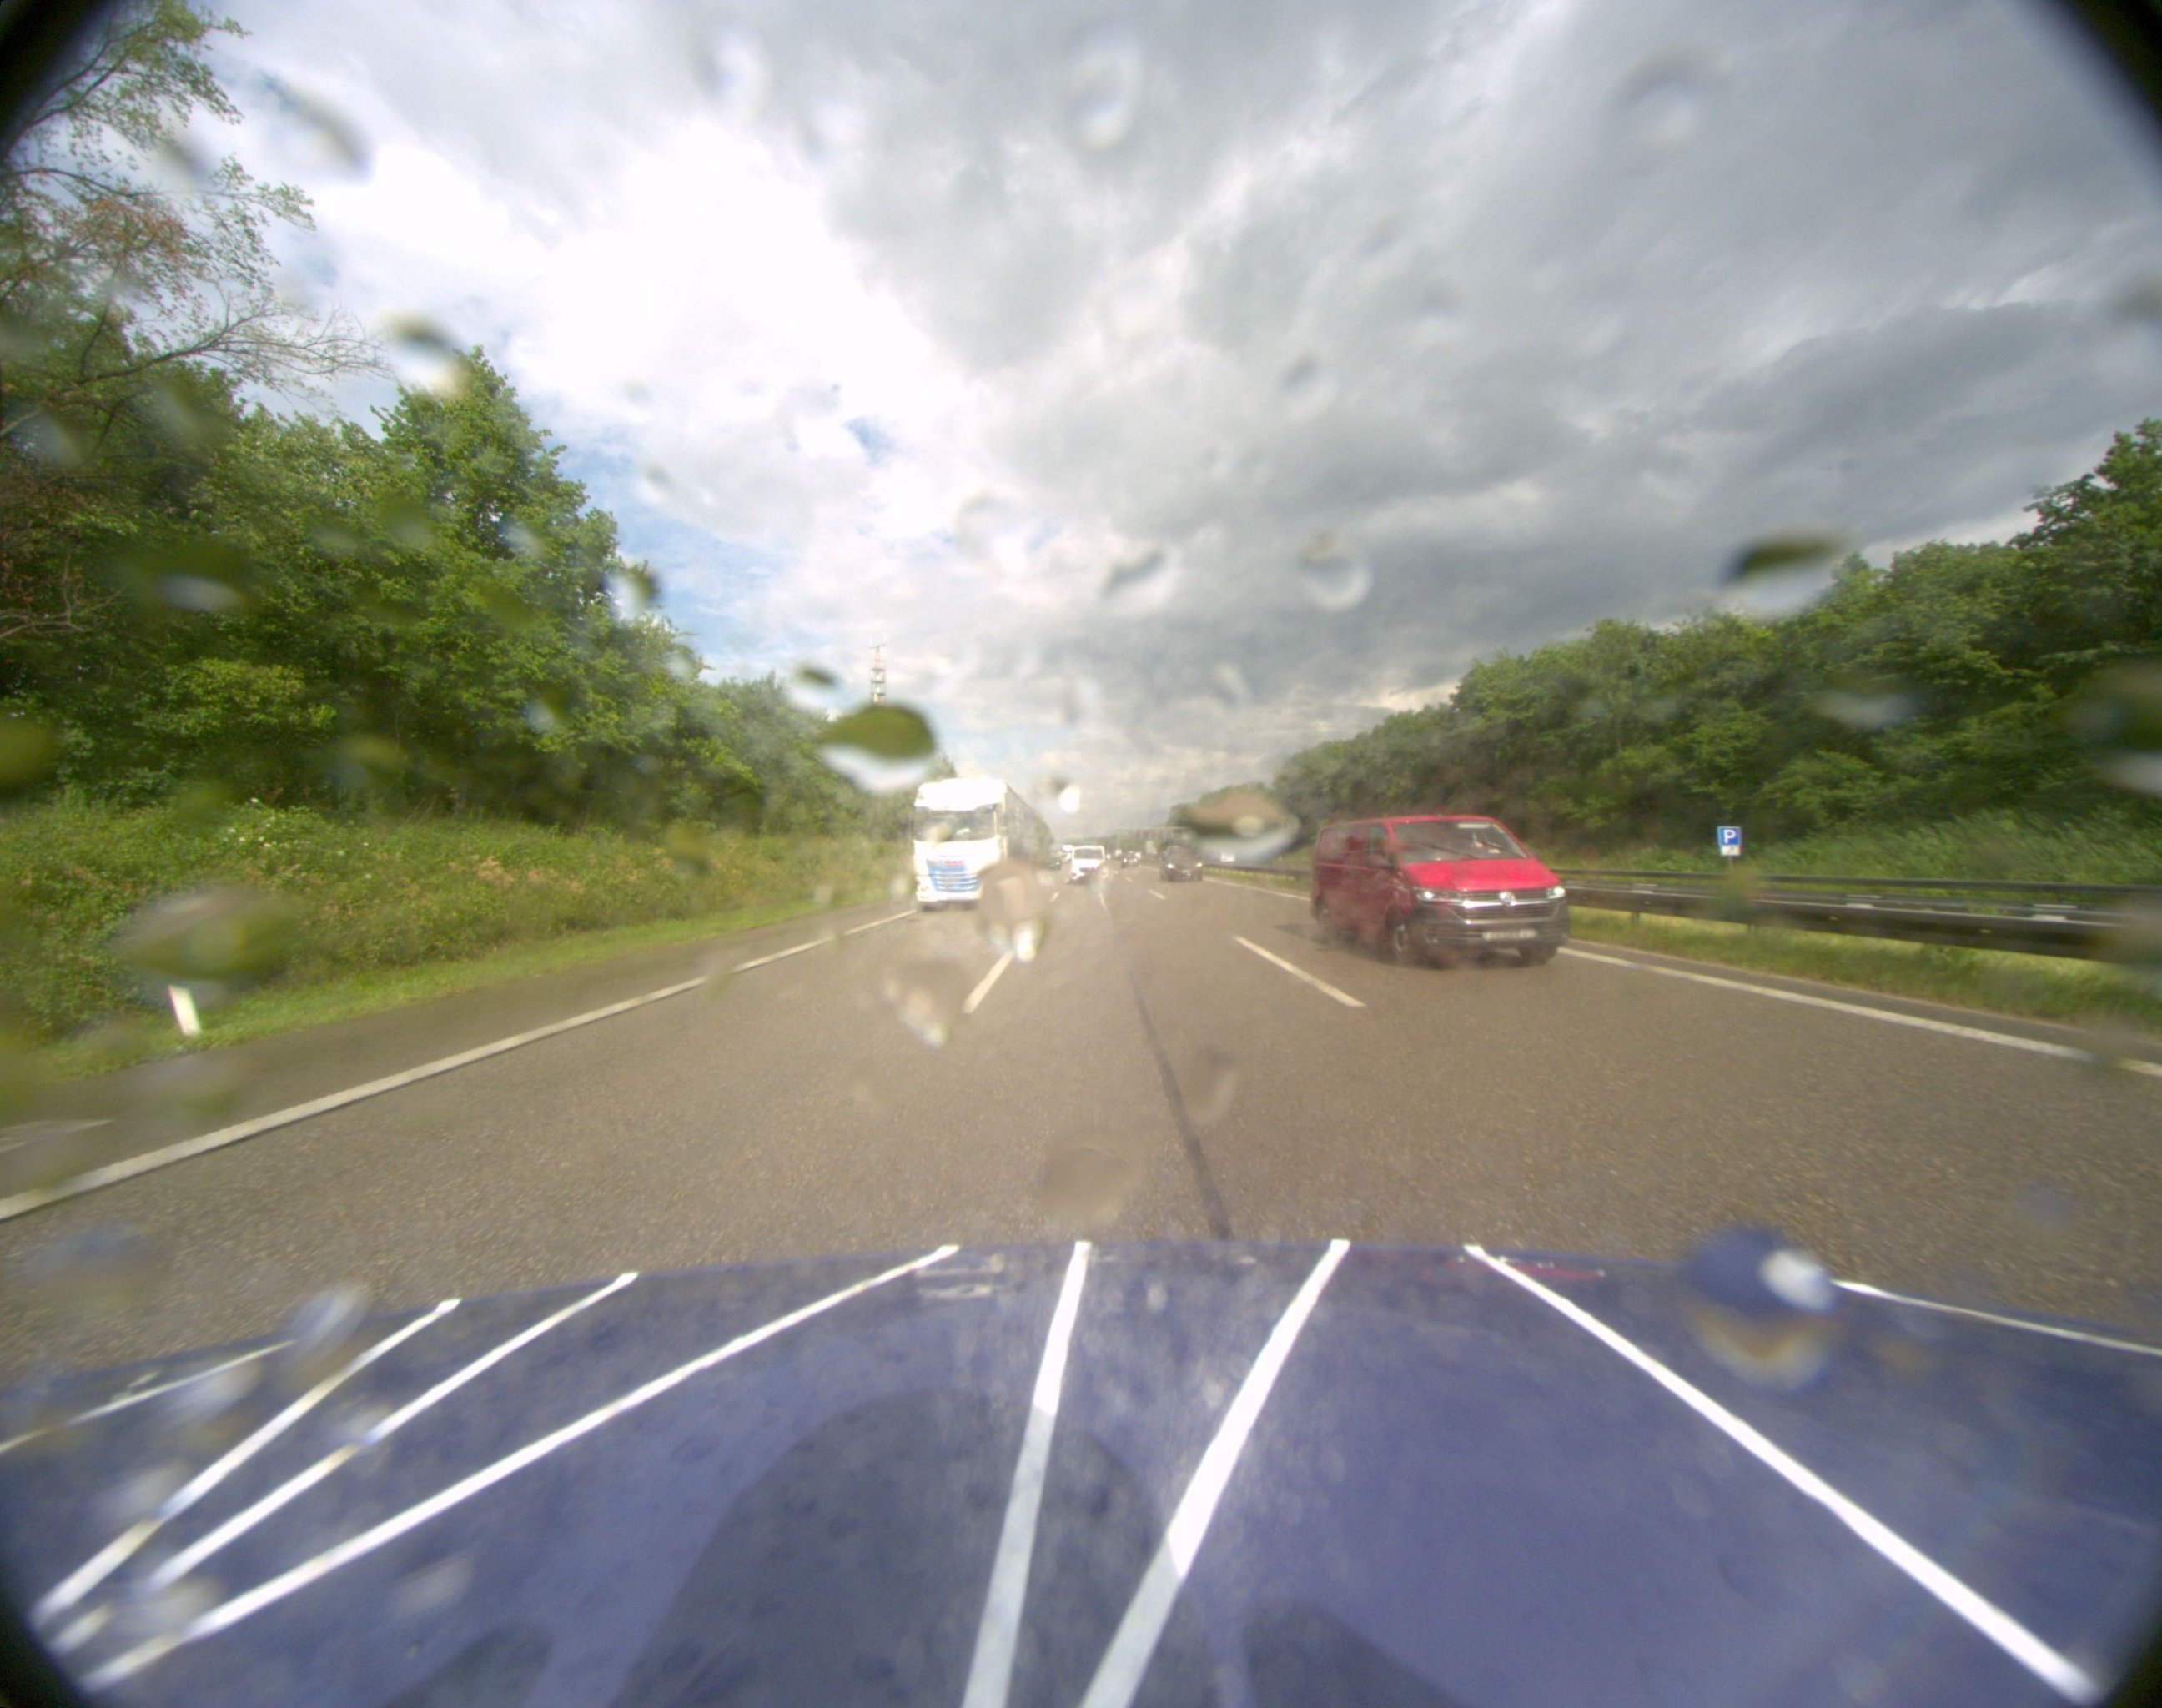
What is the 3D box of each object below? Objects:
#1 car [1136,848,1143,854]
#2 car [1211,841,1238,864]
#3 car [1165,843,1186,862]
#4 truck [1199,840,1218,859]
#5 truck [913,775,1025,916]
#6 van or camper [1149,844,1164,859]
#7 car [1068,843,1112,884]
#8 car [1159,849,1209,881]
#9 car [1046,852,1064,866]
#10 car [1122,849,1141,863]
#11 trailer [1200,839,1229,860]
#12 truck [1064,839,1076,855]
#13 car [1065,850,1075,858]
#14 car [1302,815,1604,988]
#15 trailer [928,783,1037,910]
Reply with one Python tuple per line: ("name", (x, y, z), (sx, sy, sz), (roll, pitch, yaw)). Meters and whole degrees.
("car", (17.960, -0.963, 233.182), (1.873, 1.935, 5.040), (-2, 1, -1))
("car", (18.682, -0.180, 99.152), (2.268, 2.853, 6.788), (-2, 1, 0))
("car", (14.564, -0.253, 117.403), (2.268, 2.853, 6.889), (-2, 1, 0))
("truck", (26.659, -1.009, 159.258), (2.997, 3.809, 6.864), (-3, 1, 2))
("truck", (-3.500, -0.262, 25.570), (2.613, 3.972, 7.289), (-2, 1, -1))
("van or camper", (14.951, -0.482, 150.846), (2.268, 2.853, 6.838), (-2, 1, 0))
("car", (0.480, 0.445, 41.691), (2.124, 1.988, 5.982), (-2, 1, 0))
("car", (5.430, 0.546, 40.778), (2.009, 1.488, 4.838), (-2, 1, 0))
("car", (-2.877, 0.574, 84.763), (1.799, 1.410, 4.838), (-2, 1, 0))
("car", (5.516, 0.224, 83.859), (1.799, 1.410, 4.838), (-2, 1, 0))
("trailer", (26.394, -0.917, 150.766), (2.997, 3.809, 17.951), (-3, 1, 2))
("truck", (-2.775, -1.704, 192.811), (3.064, 3.827, 8.798), (-1, 0, -1))
("car", (-2.113, 0.045, 147.944), (1.799, 1.410, 4.838), (-2, 1, 0))
("car", (4.851, 0.508, 10.883), (1.927, 1.855, 4.838), (-2, 1, 0))
("trailer", (-3.571, -0.308, 31.377), (2.641, 3.972, 14.061), (-2, 1, -1))
